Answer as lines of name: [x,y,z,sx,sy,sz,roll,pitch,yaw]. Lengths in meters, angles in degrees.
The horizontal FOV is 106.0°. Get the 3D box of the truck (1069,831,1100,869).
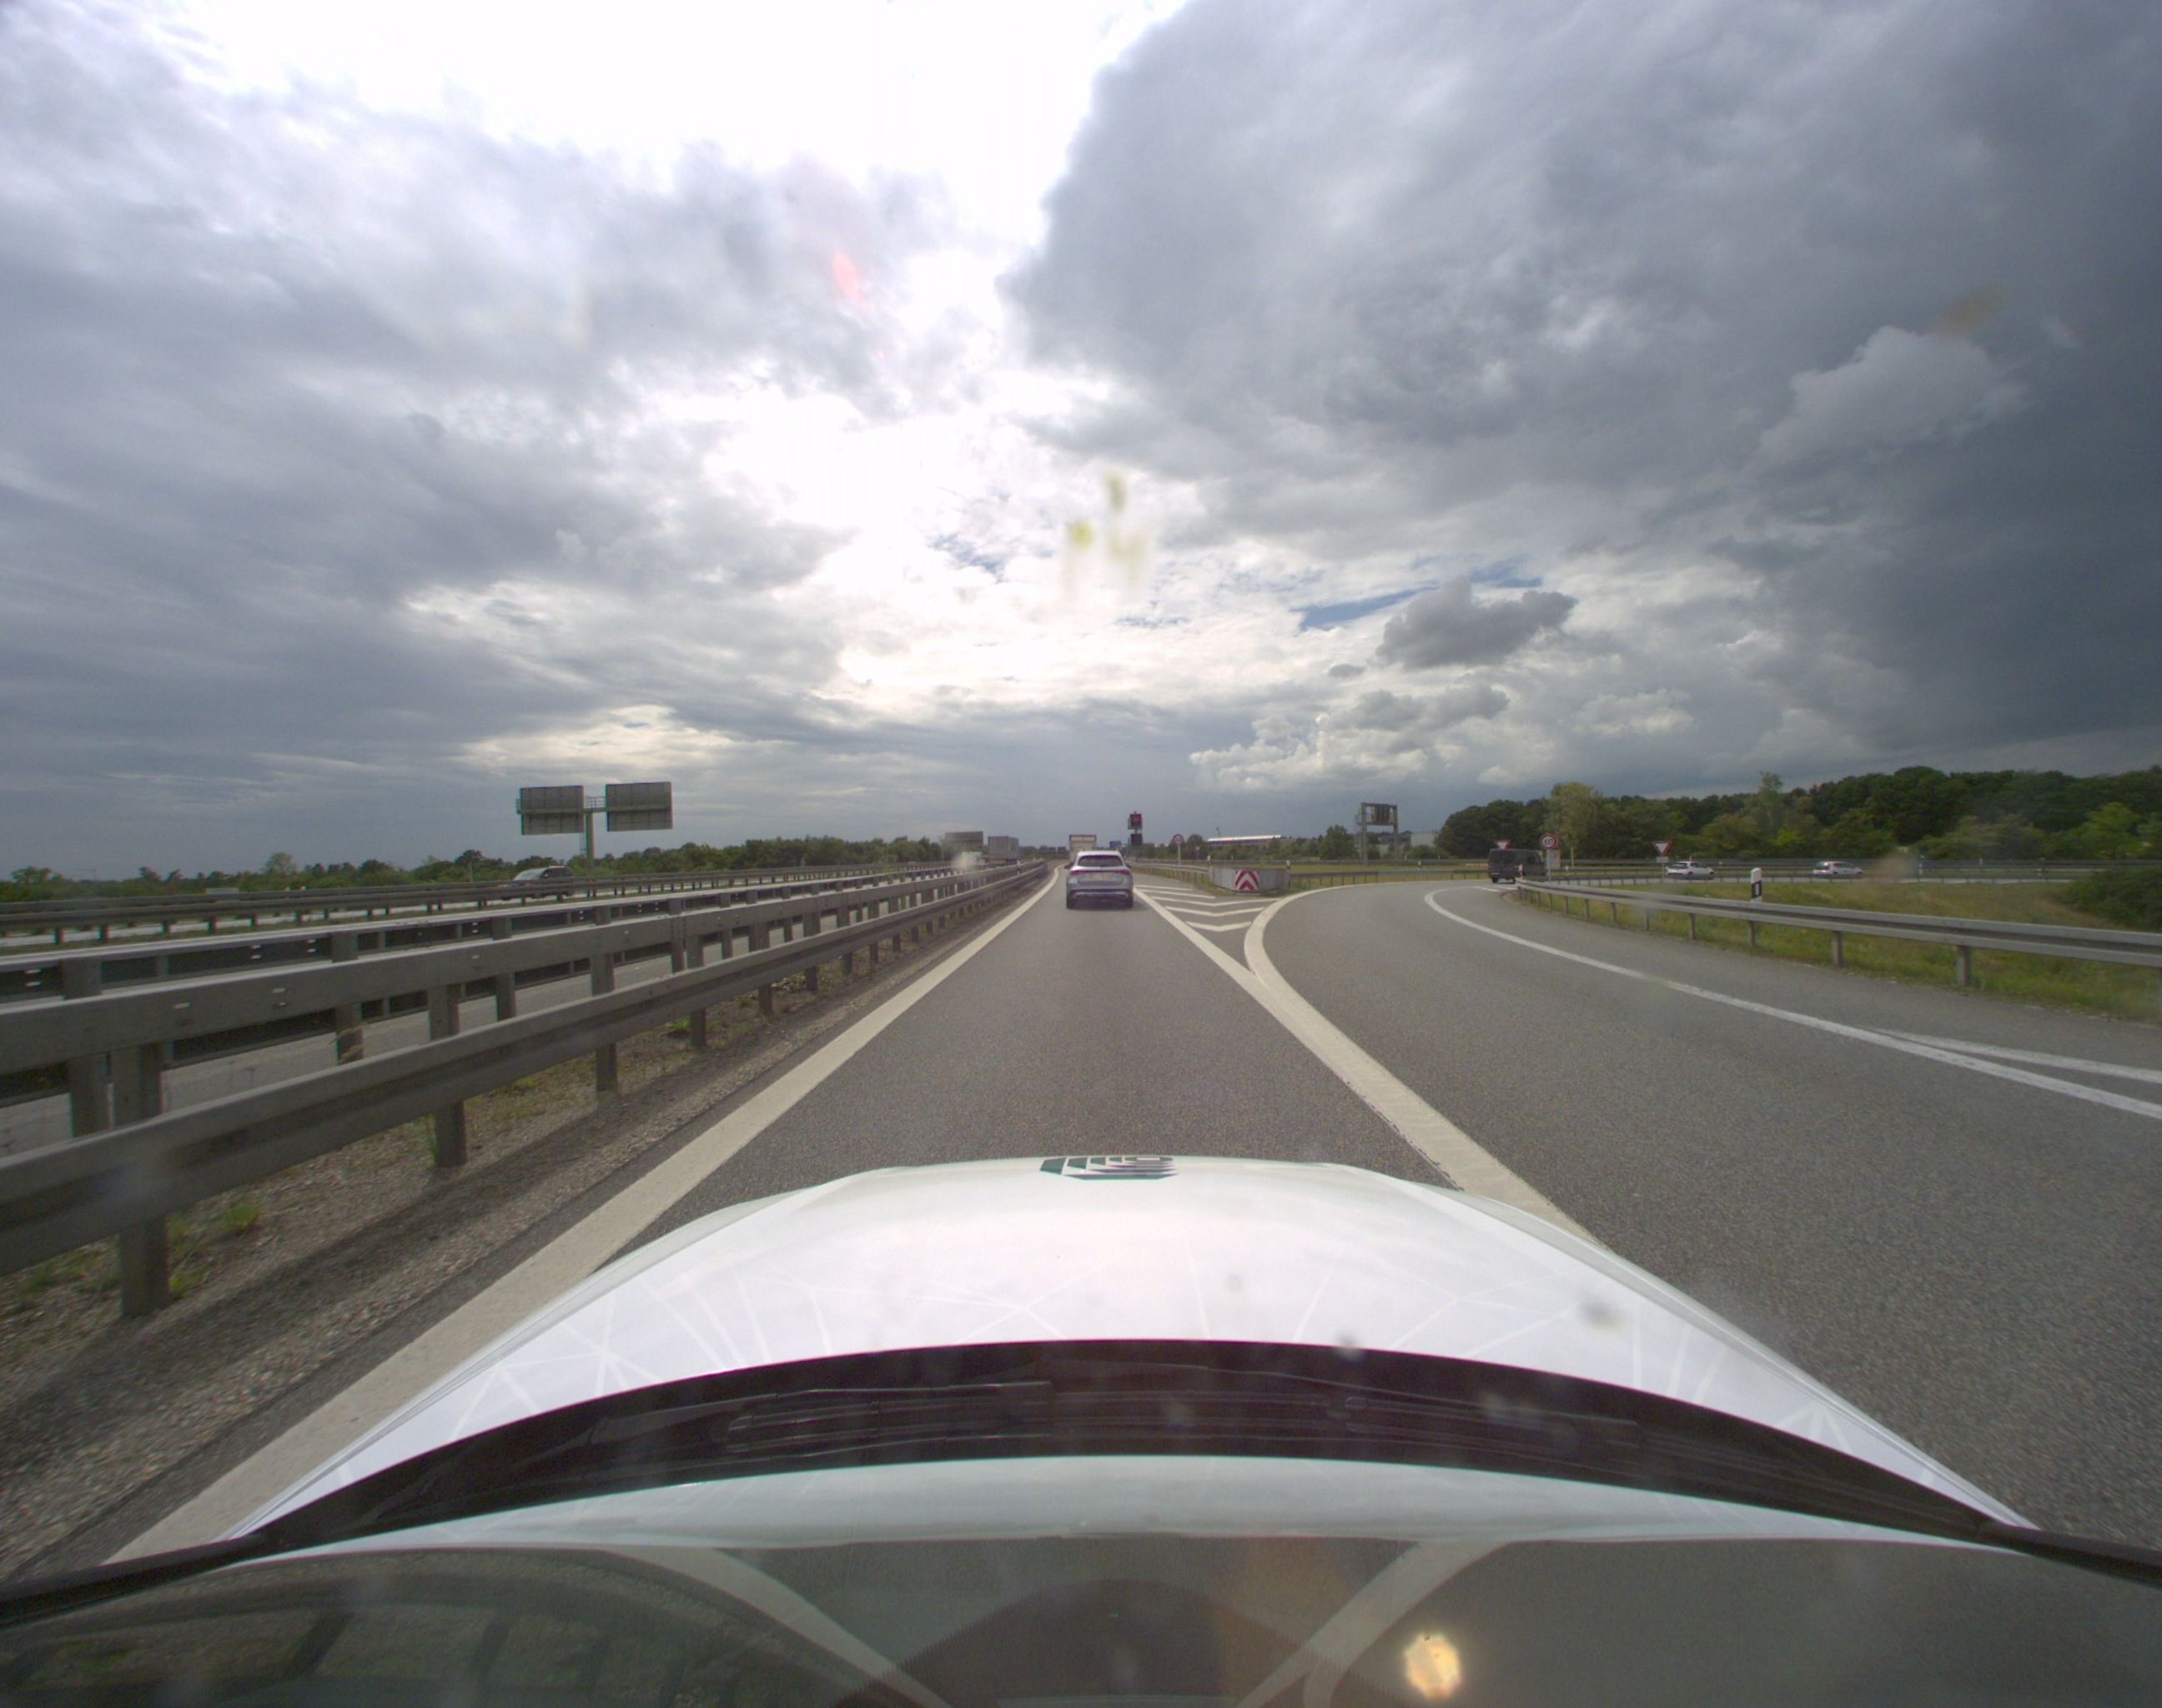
truck: [0.307,-0.291,70.111,2.560,3.126,8.633,0,0,0]

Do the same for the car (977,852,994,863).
car: [-13.948,0.483,119.024,1.874,1.546,4.617,0,1,2]

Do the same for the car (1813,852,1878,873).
car: [67.333,0.749,71.735,3.977,1.709,1.998,0,1,-3]

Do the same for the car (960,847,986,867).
car: [-11.260,0.278,85.260,1.986,2.013,4.377,0,1,2]

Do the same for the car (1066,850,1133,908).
car: [0.575,0.661,23.941,1.812,1.514,4.002,0,1,2]

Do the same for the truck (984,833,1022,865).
truck: [-10.251,-0.737,109.043,3.172,4.018,16.079,0,1,1]

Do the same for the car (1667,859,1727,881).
car: [52.010,1.322,68.823,3.992,1.709,1.991,-1,1,-14]

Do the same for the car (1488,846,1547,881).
car: [29.510,0.602,55.031,4.673,2.261,1.890,-1,1,-40]
